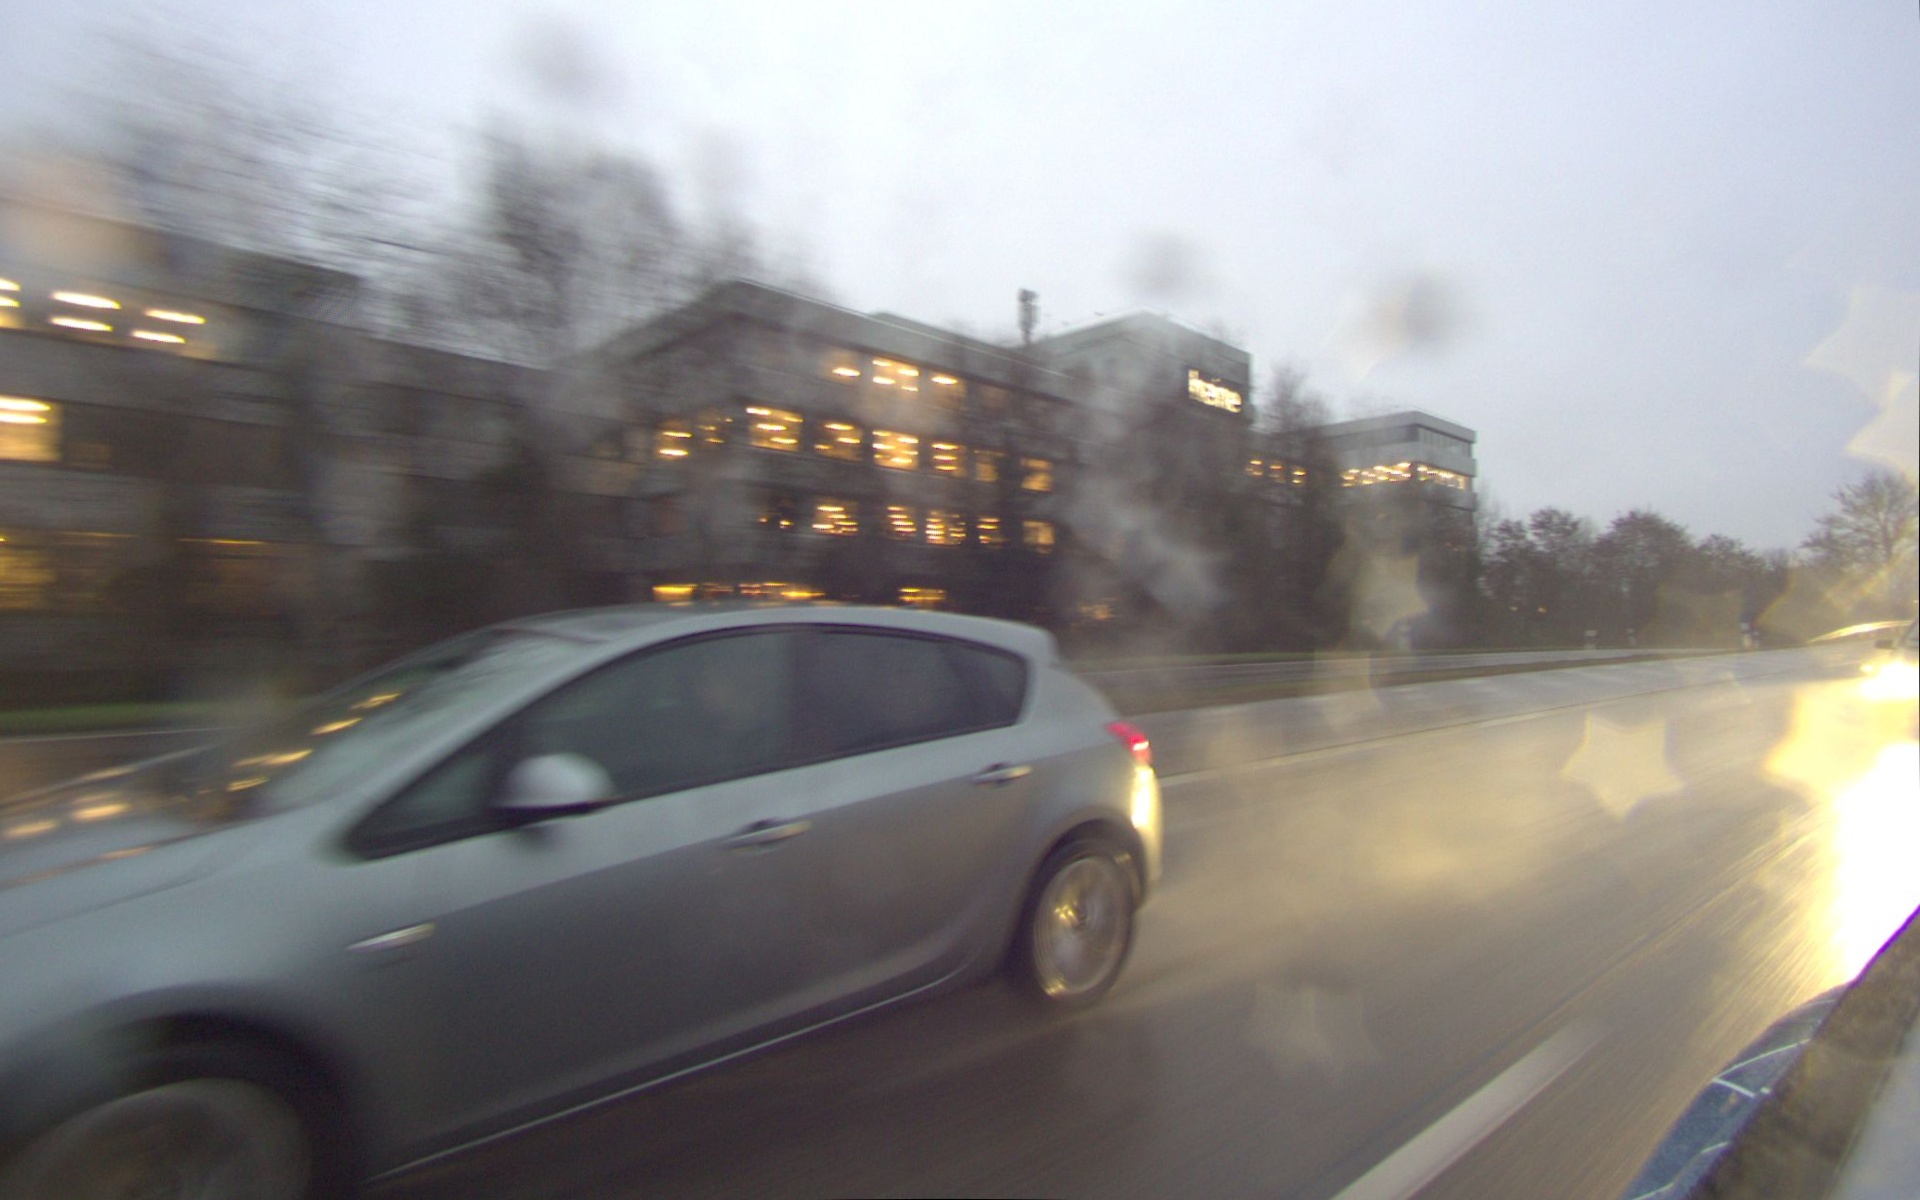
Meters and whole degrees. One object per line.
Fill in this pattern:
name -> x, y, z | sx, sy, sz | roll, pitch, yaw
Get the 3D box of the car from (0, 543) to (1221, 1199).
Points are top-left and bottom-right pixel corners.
car -> -1.129, 0.667, 3.431 | 4.188, 1.521, 1.852 | 0, -1, -41

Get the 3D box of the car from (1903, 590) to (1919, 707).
car -> 14.156, 0.619, 13.526 | 4.099, 1.472, 1.595 | 1, -1, -37
